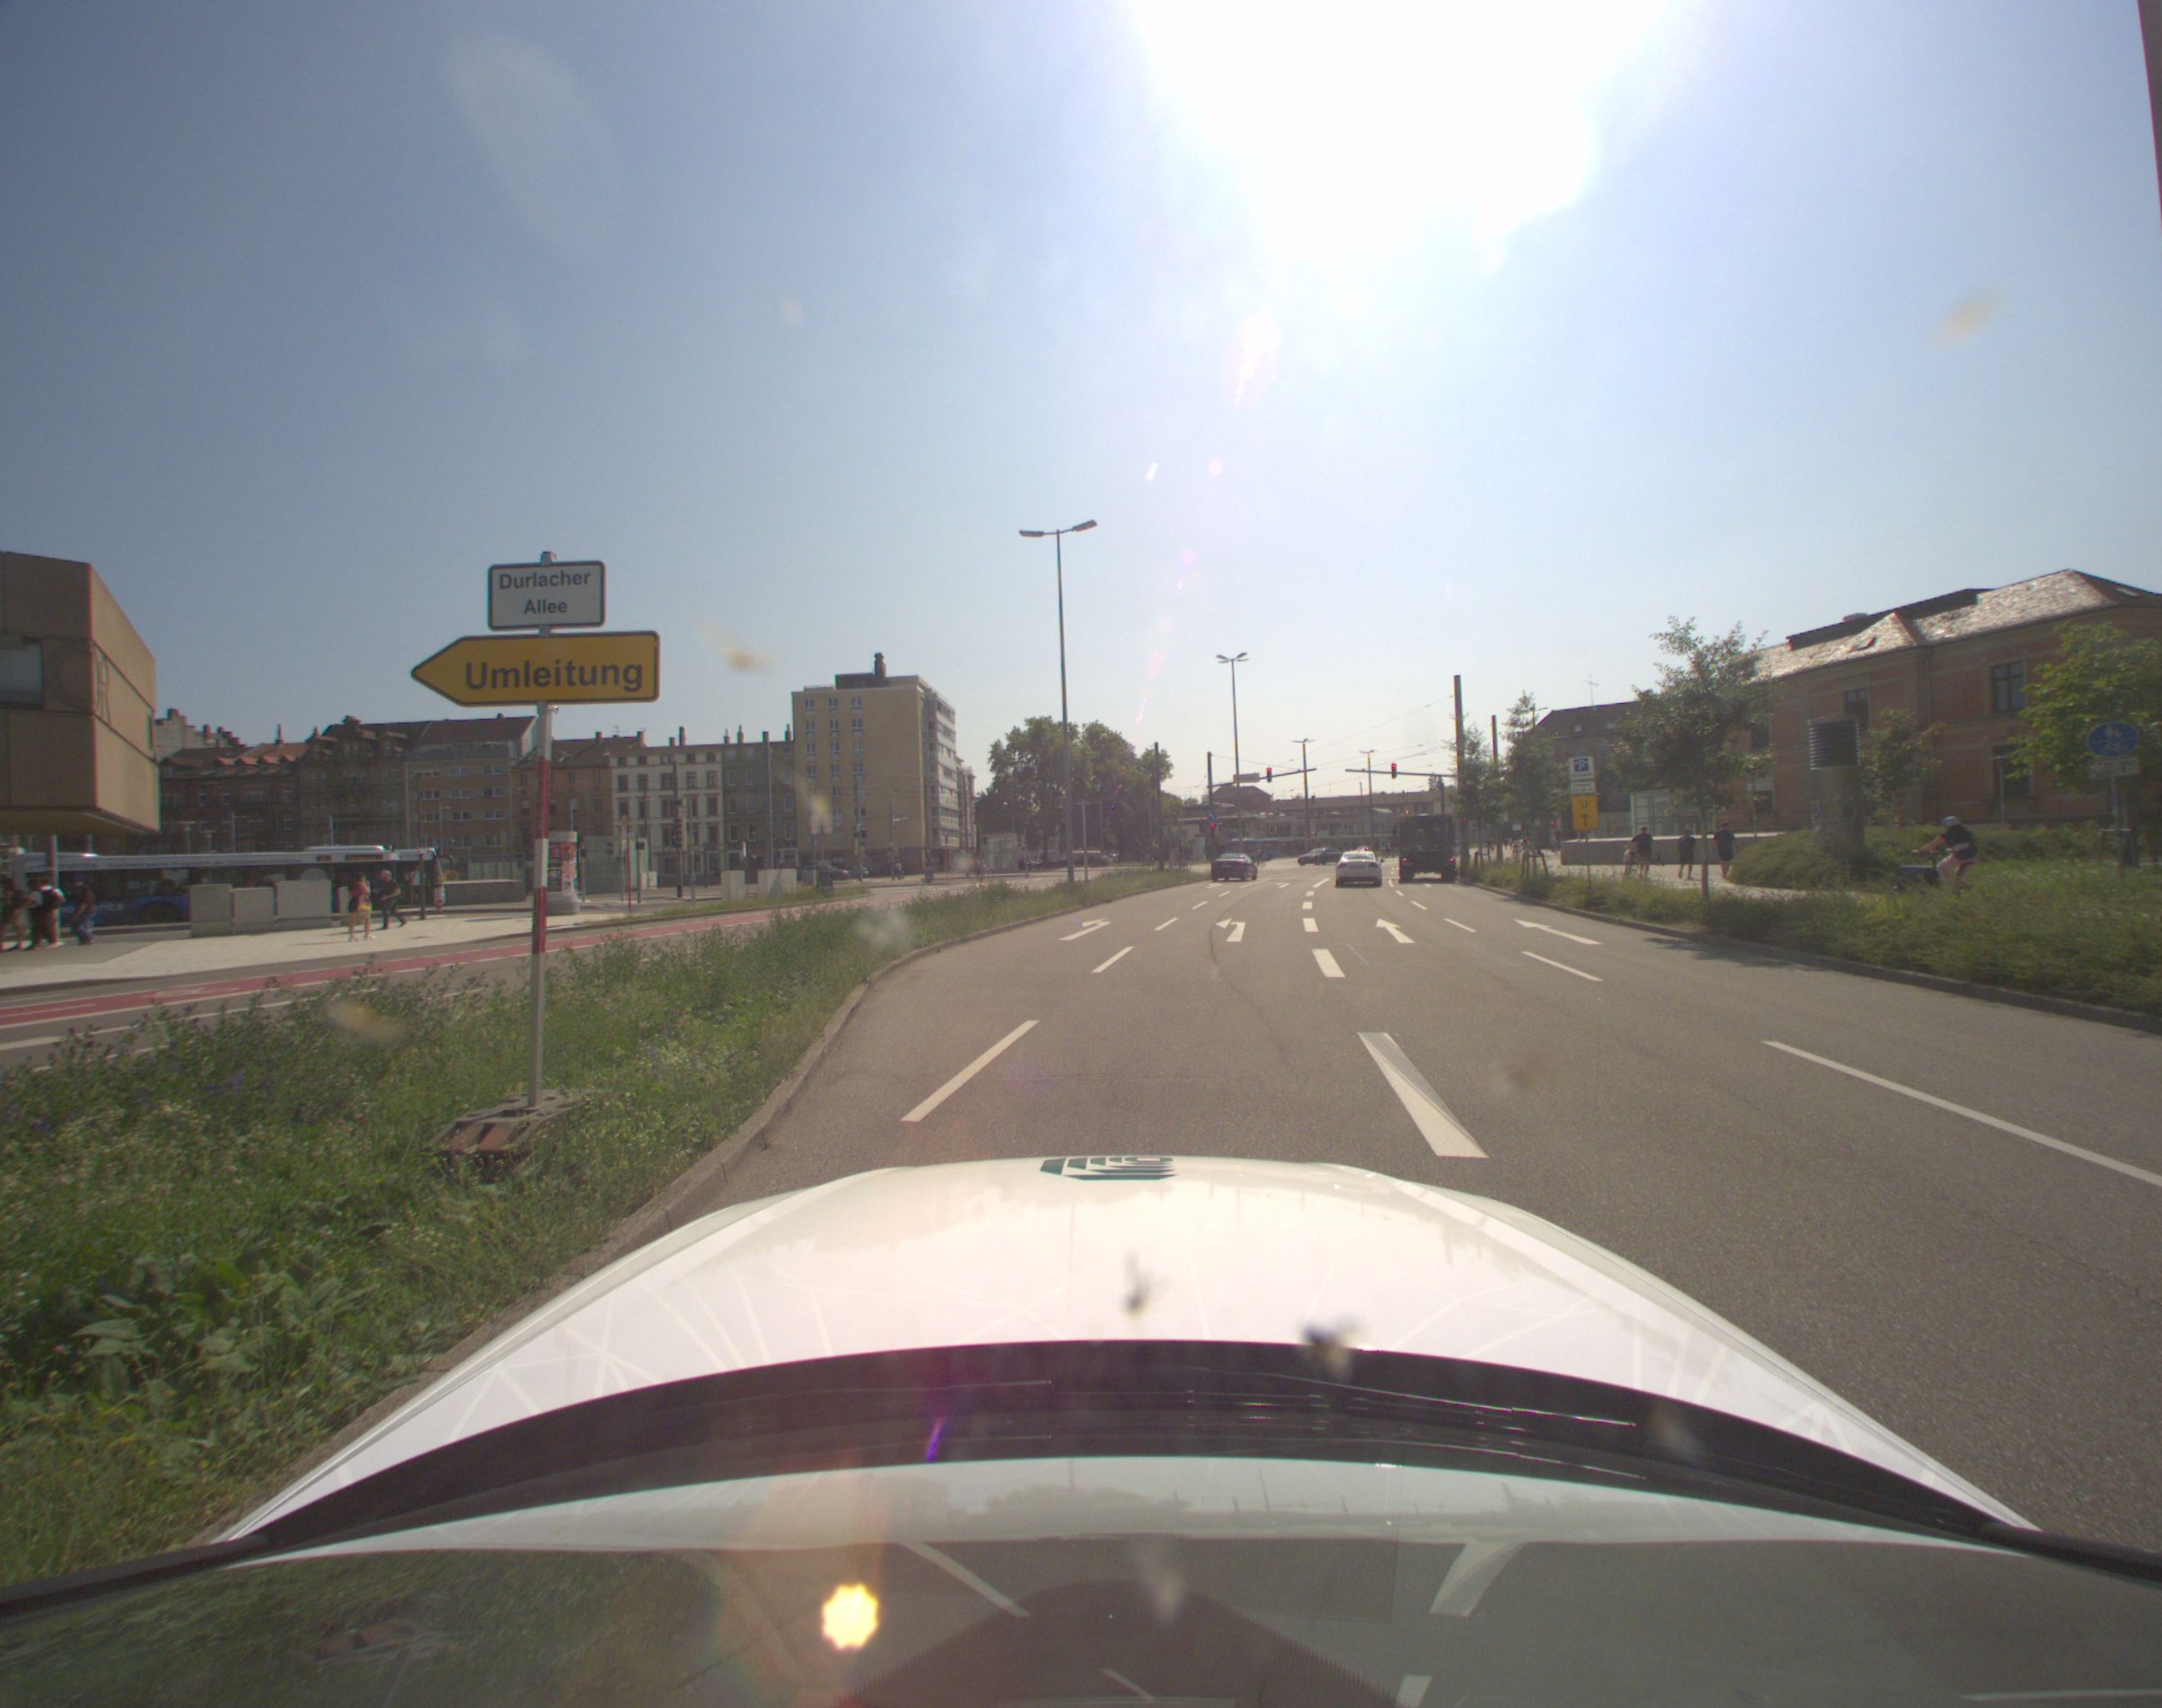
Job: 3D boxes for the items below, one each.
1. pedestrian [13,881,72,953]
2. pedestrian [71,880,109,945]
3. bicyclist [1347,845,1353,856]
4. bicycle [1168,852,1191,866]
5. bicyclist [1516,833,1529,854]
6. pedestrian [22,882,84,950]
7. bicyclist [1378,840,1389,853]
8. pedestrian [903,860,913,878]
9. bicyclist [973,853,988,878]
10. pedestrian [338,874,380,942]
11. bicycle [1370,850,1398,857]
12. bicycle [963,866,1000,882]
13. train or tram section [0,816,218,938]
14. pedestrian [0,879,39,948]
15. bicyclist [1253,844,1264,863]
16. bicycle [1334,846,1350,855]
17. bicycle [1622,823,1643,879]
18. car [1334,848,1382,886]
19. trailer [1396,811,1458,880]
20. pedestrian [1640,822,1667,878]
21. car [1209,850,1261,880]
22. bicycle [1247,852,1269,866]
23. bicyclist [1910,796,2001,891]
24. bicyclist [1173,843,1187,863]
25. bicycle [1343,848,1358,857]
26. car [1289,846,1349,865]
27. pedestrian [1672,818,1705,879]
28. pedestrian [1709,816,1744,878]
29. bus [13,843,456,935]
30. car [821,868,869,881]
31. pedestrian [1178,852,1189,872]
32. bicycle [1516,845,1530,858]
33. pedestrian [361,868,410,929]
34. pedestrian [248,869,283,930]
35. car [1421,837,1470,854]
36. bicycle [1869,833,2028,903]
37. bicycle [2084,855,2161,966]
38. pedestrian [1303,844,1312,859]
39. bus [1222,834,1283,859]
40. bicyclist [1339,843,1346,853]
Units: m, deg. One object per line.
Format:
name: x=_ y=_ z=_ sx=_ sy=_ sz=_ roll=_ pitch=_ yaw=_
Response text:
pedestrian: x=-24.457 y=1.464 z=19.193 sx=0.696 sy=1.614 sz=0.632 roll=-2 pitch=-1 yaw=-38
pedestrian: x=-25.533 y=1.498 z=20.990 sx=0.485 sy=1.614 sz=0.574 roll=-3 pitch=-1 yaw=43
bicyclist: x=30.492 y=-0.411 z=92.310 sx=0.589 sy=1.247 sz=0.509 roll=-2 pitch=0 yaw=16
bicycle: x=8.251 y=0.413 z=68.333 sx=0.973 sy=1.178 sz=2.819 roll=-2 pitch=0 yaw=-13
bicyclist: x=28.504 y=-0.682 z=52.550 sx=0.668 sy=1.320 sz=0.687 roll=-2 pitch=0 yaw=25
pedestrian: x=-26.459 y=1.576 z=20.972 sx=0.545 sy=1.669 sz=0.812 roll=-2 pitch=0 yaw=13
bicyclist: x=34.381 y=-0.861 z=92.501 sx=0.900 sy=1.501 sz=0.865 roll=-2 pitch=0 yaw=1
pedestrian: x=-15.742 y=1.383 z=74.178 sx=0.646 sy=1.633 sz=0.815 roll=-2 pitch=0 yaw=3
bicyclist: x=-6.900 y=0.797 z=56.029 sx=0.835 sy=1.642 sz=0.607 roll=-2 pitch=-1 yaw=2
pedestrian: x=-18.480 y=1.375 z=20.867 sx=0.630 sy=1.703 sz=0.779 roll=2 pitch=-3 yaw=-32
bicycle: x=34.418 y=-0.043 z=92.508 sx=2.924 sy=0.727 sz=0.865 roll=-2 pitch=0 yaw=1
bicycle: x=-6.828 y=1.361 z=56.014 sx=2.400 sy=0.953 sz=0.604 roll=-2 pitch=0 yaw=2
train or tram section: x=-33.359 y=0.798 z=25.575 sx=8.294 sy=3.569 sz=3.106 roll=-4 pitch=0 yaw=-44
pedestrian: x=-25.745 y=1.430 z=19.656 sx=0.510 sy=1.614 sz=0.488 roll=-2 pitch=0 yaw=-20
bicyclist: x=15.628 y=-0.021 z=71.732 sx=0.622 sy=1.650 sz=0.685 roll=-2 pitch=-1 yaw=-37
bicycle: x=29.147 y=-0.355 z=90.929 sx=1.575 sy=0.985 sz=0.510 roll=-2 pitch=0 yaw=36
bicycle: x=18.907 y=-0.105 z=27.920 sx=0.451 sy=1.860 sz=1.372 roll=-2 pitch=0 yaw=31
car: x=11.796 y=0.506 z=34.544 sx=1.743 sy=1.455 sz=4.448 roll=-1 pitch=0 yaw=20
trailer: x=16.310 y=-0.417 z=38.707 sx=2.442 sy=3.007 sz=6.358 roll=0 pitch=1 yaw=21
pedestrian: x=19.451 y=-0.143 z=27.685 sx=0.653 sy=1.860 sz=0.798 roll=-2 pitch=1 yaw=33
car: x=7.889 y=0.541 z=41.496 sx=1.742 sy=1.404 sz=4.003 roll=-1 pitch=0 yaw=24
bicycle: x=15.561 y=0.453 z=71.667 sx=2.053 sy=1.137 sz=0.691 roll=-2 pitch=0 yaw=-38
bicyclist: x=14.500 y=-0.166 z=13.524 sx=0.546 sy=1.496 sz=0.804 roll=-4 pitch=-1 yaw=4
bicyclist: x=8.297 y=-0.086 z=68.068 sx=0.973 sy=1.654 sz=0.659 roll=-2 pitch=0 yaw=-14
bicycle: x=30.504 y=-0.130 z=92.312 sx=1.579 sy=0.985 sz=0.509 roll=-2 pitch=0 yaw=16
car: x=20.308 y=0.105 z=69.504 sx=4.564 sy=1.438 sz=1.987 roll=-2 pitch=0 yaw=-20
pedestrian: x=20.118 y=-0.195 z=26.966 sx=0.770 sy=1.973 sz=0.758 roll=-2 pitch=0 yaw=34
pedestrian: x=21.181 y=-0.225 z=26.734 sx=0.770 sy=1.973 sz=0.758 roll=-2 pitch=0 yaw=34
bus: x=-34.638 y=1.239 z=34.568 sx=12.555 sy=3.070 sz=3.068 roll=-2 pitch=0 yaw=-44
car: x=-22.006 y=1.919 z=76.029 sx=3.873 sy=0.987 sz=1.714 roll=-2 pitch=0 yaw=-3
pedestrian: x=6.596 y=0.500 z=52.489 sx=0.593 sy=1.268 sz=0.505 roll=-2 pitch=2 yaw=1
bicycle: x=28.550 y=-0.141 z=52.594 sx=0.668 sy=0.777 sz=2.140 roll=-2 pitch=0 yaw=25
pedestrian: x=-20.133 y=1.289 z=23.581 sx=0.640 sy=1.702 sz=0.812 roll=-2 pitch=0 yaw=13
pedestrian: x=-24.367 y=1.345 z=24.330 sx=0.688 sy=1.763 sz=0.555 roll=-3 pitch=-1 yaw=33
car: x=35.187 y=-0.803 z=78.659 sx=4.057 sy=1.425 sz=1.768 roll=-2 pitch=0 yaw=-13
bicycle: x=14.552 y=0.227 z=13.754 sx=0.554 sy=1.060 sz=2.006 roll=-4 pitch=0 yaw=3
bicycle: x=12.028 y=0.622 z=8.373 sx=0.690 sy=1.155 sz=2.377 roll=-4 pitch=0 yaw=8
pedestrian: x=26.442 y=-0.281 z=95.170 sx=0.776 sy=1.752 sz=0.814 roll=-2 pitch=0 yaw=35
bus: x=22.446 y=-1.017 z=106.049 sx=3.024 sy=2.931 sz=11.929 roll=-2 pitch=0 yaw=36
bicyclist: x=29.197 y=-0.674 z=90.887 sx=0.498 sy=1.188 sz=0.510 roll=-2 pitch=0 yaw=36
